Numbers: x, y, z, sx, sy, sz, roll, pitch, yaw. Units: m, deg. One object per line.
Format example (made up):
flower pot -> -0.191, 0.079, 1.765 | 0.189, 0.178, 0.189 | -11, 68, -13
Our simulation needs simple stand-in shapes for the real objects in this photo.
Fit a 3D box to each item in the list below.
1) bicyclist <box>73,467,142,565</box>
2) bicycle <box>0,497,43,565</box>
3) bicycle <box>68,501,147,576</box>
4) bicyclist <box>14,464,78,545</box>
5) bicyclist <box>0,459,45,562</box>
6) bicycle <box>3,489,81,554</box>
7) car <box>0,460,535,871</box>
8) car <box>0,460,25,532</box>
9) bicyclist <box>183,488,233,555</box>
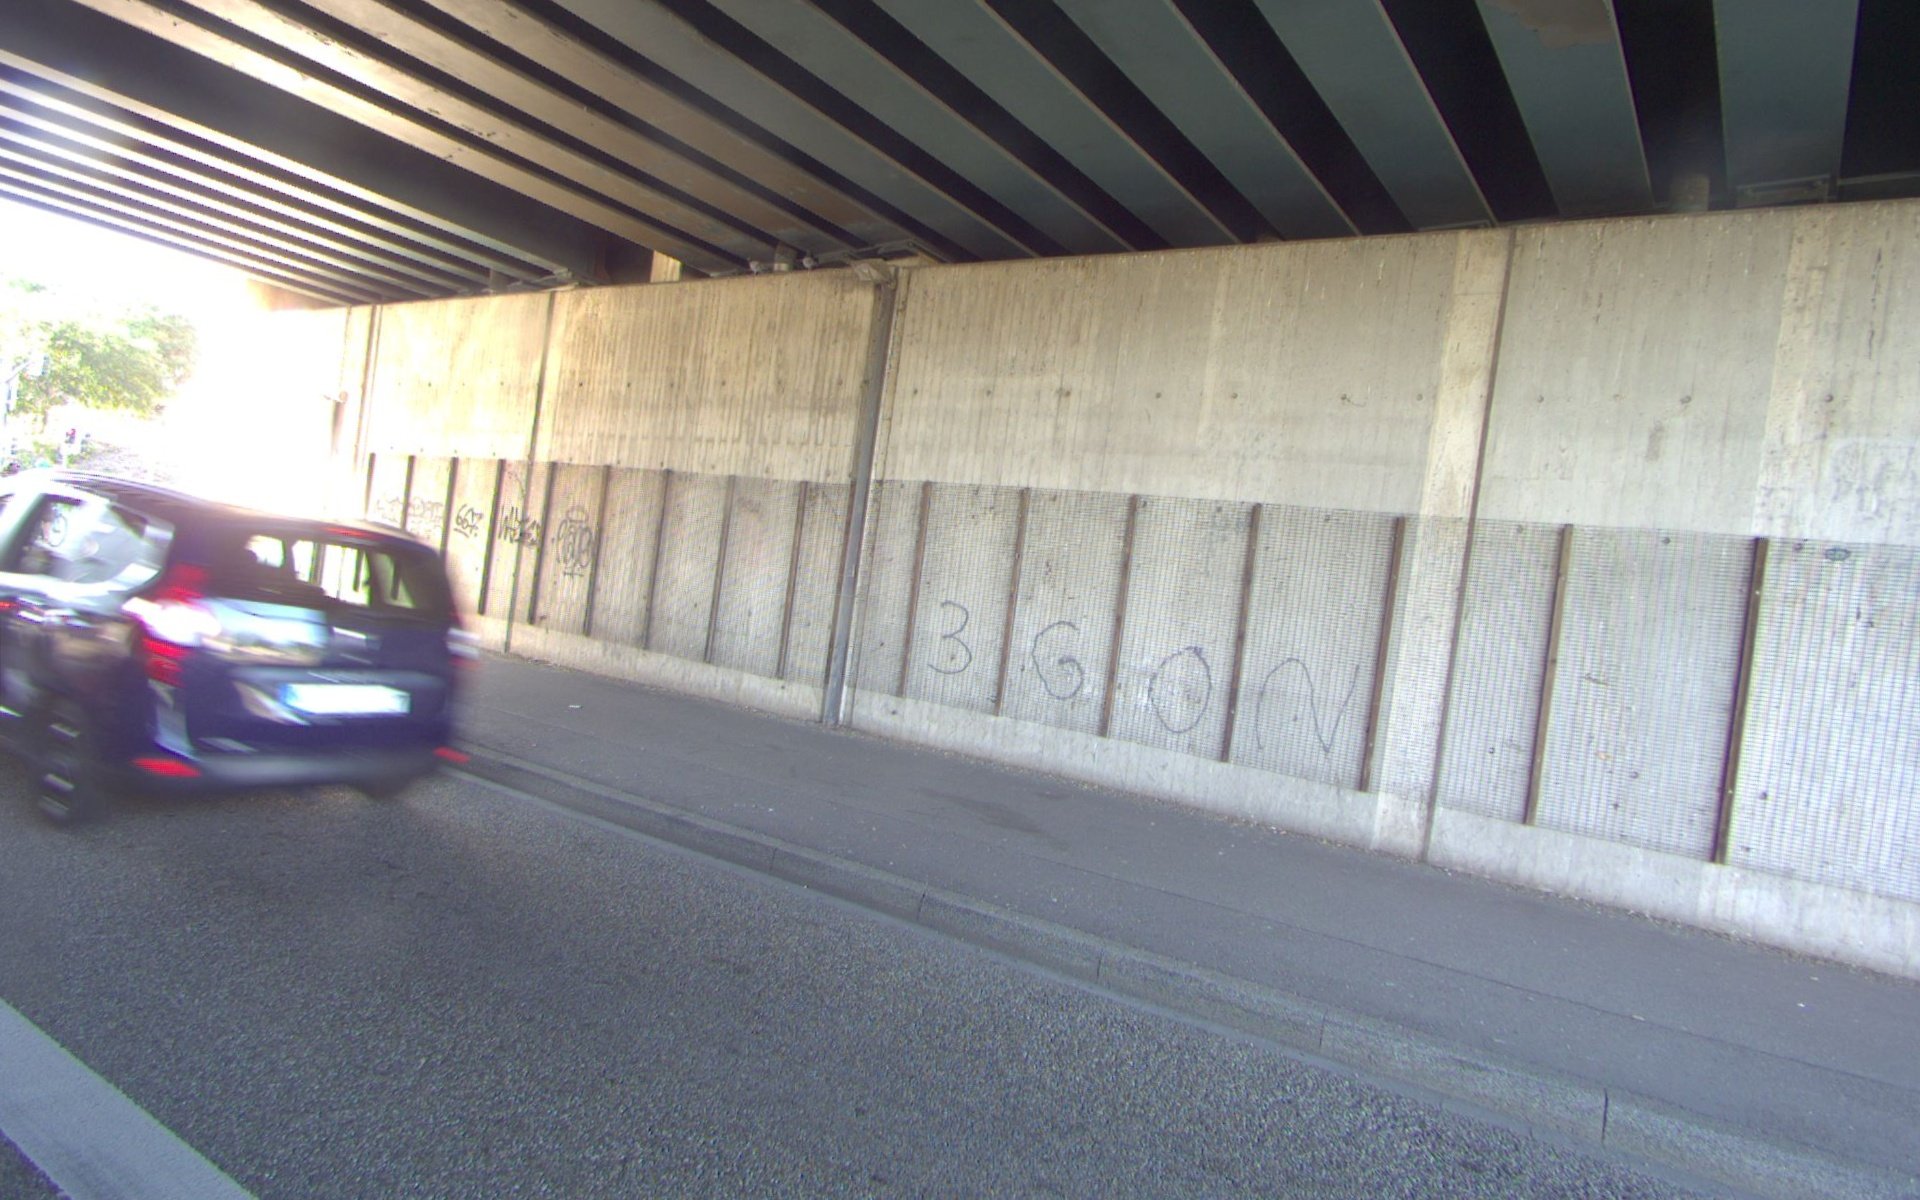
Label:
bicyclist -> -14.768, -1.452, 17.427 | 0.724, 1.581, 0.669 | 7, 0, 38
bicycle -> -16.145, -1.196, 17.044 | 1.508, 1.036, 0.676 | 6, -2, 43
bicycle -> -14.738, -1.071, 17.378 | 1.580, 1.126, 0.680 | 6, 0, 39
bicyclist -> -18.981, -1.965, 20.908 | 0.647, 1.552, 0.841 | 7, -1, -27
bicyclist -> -16.115, -1.518, 17.054 | 0.635, 1.647, 0.676 | 6, -2, 42
bicycle -> -19.010, -1.597, 20.874 | 0.645, 1.181, 1.766 | 7, -1, -27
car -> -4.650, 0.171, 5.872 | 4.035, 1.619, 1.778 | 7, -1, 30
car -> -25.627, -2.800, 24.549 | 1.875, 1.859, 4.819 | 8, 1, -14
bicyclist -> -20.522, -2.123, 27.482 | 0.740, 1.674, 0.881 | 8, -1, -26
